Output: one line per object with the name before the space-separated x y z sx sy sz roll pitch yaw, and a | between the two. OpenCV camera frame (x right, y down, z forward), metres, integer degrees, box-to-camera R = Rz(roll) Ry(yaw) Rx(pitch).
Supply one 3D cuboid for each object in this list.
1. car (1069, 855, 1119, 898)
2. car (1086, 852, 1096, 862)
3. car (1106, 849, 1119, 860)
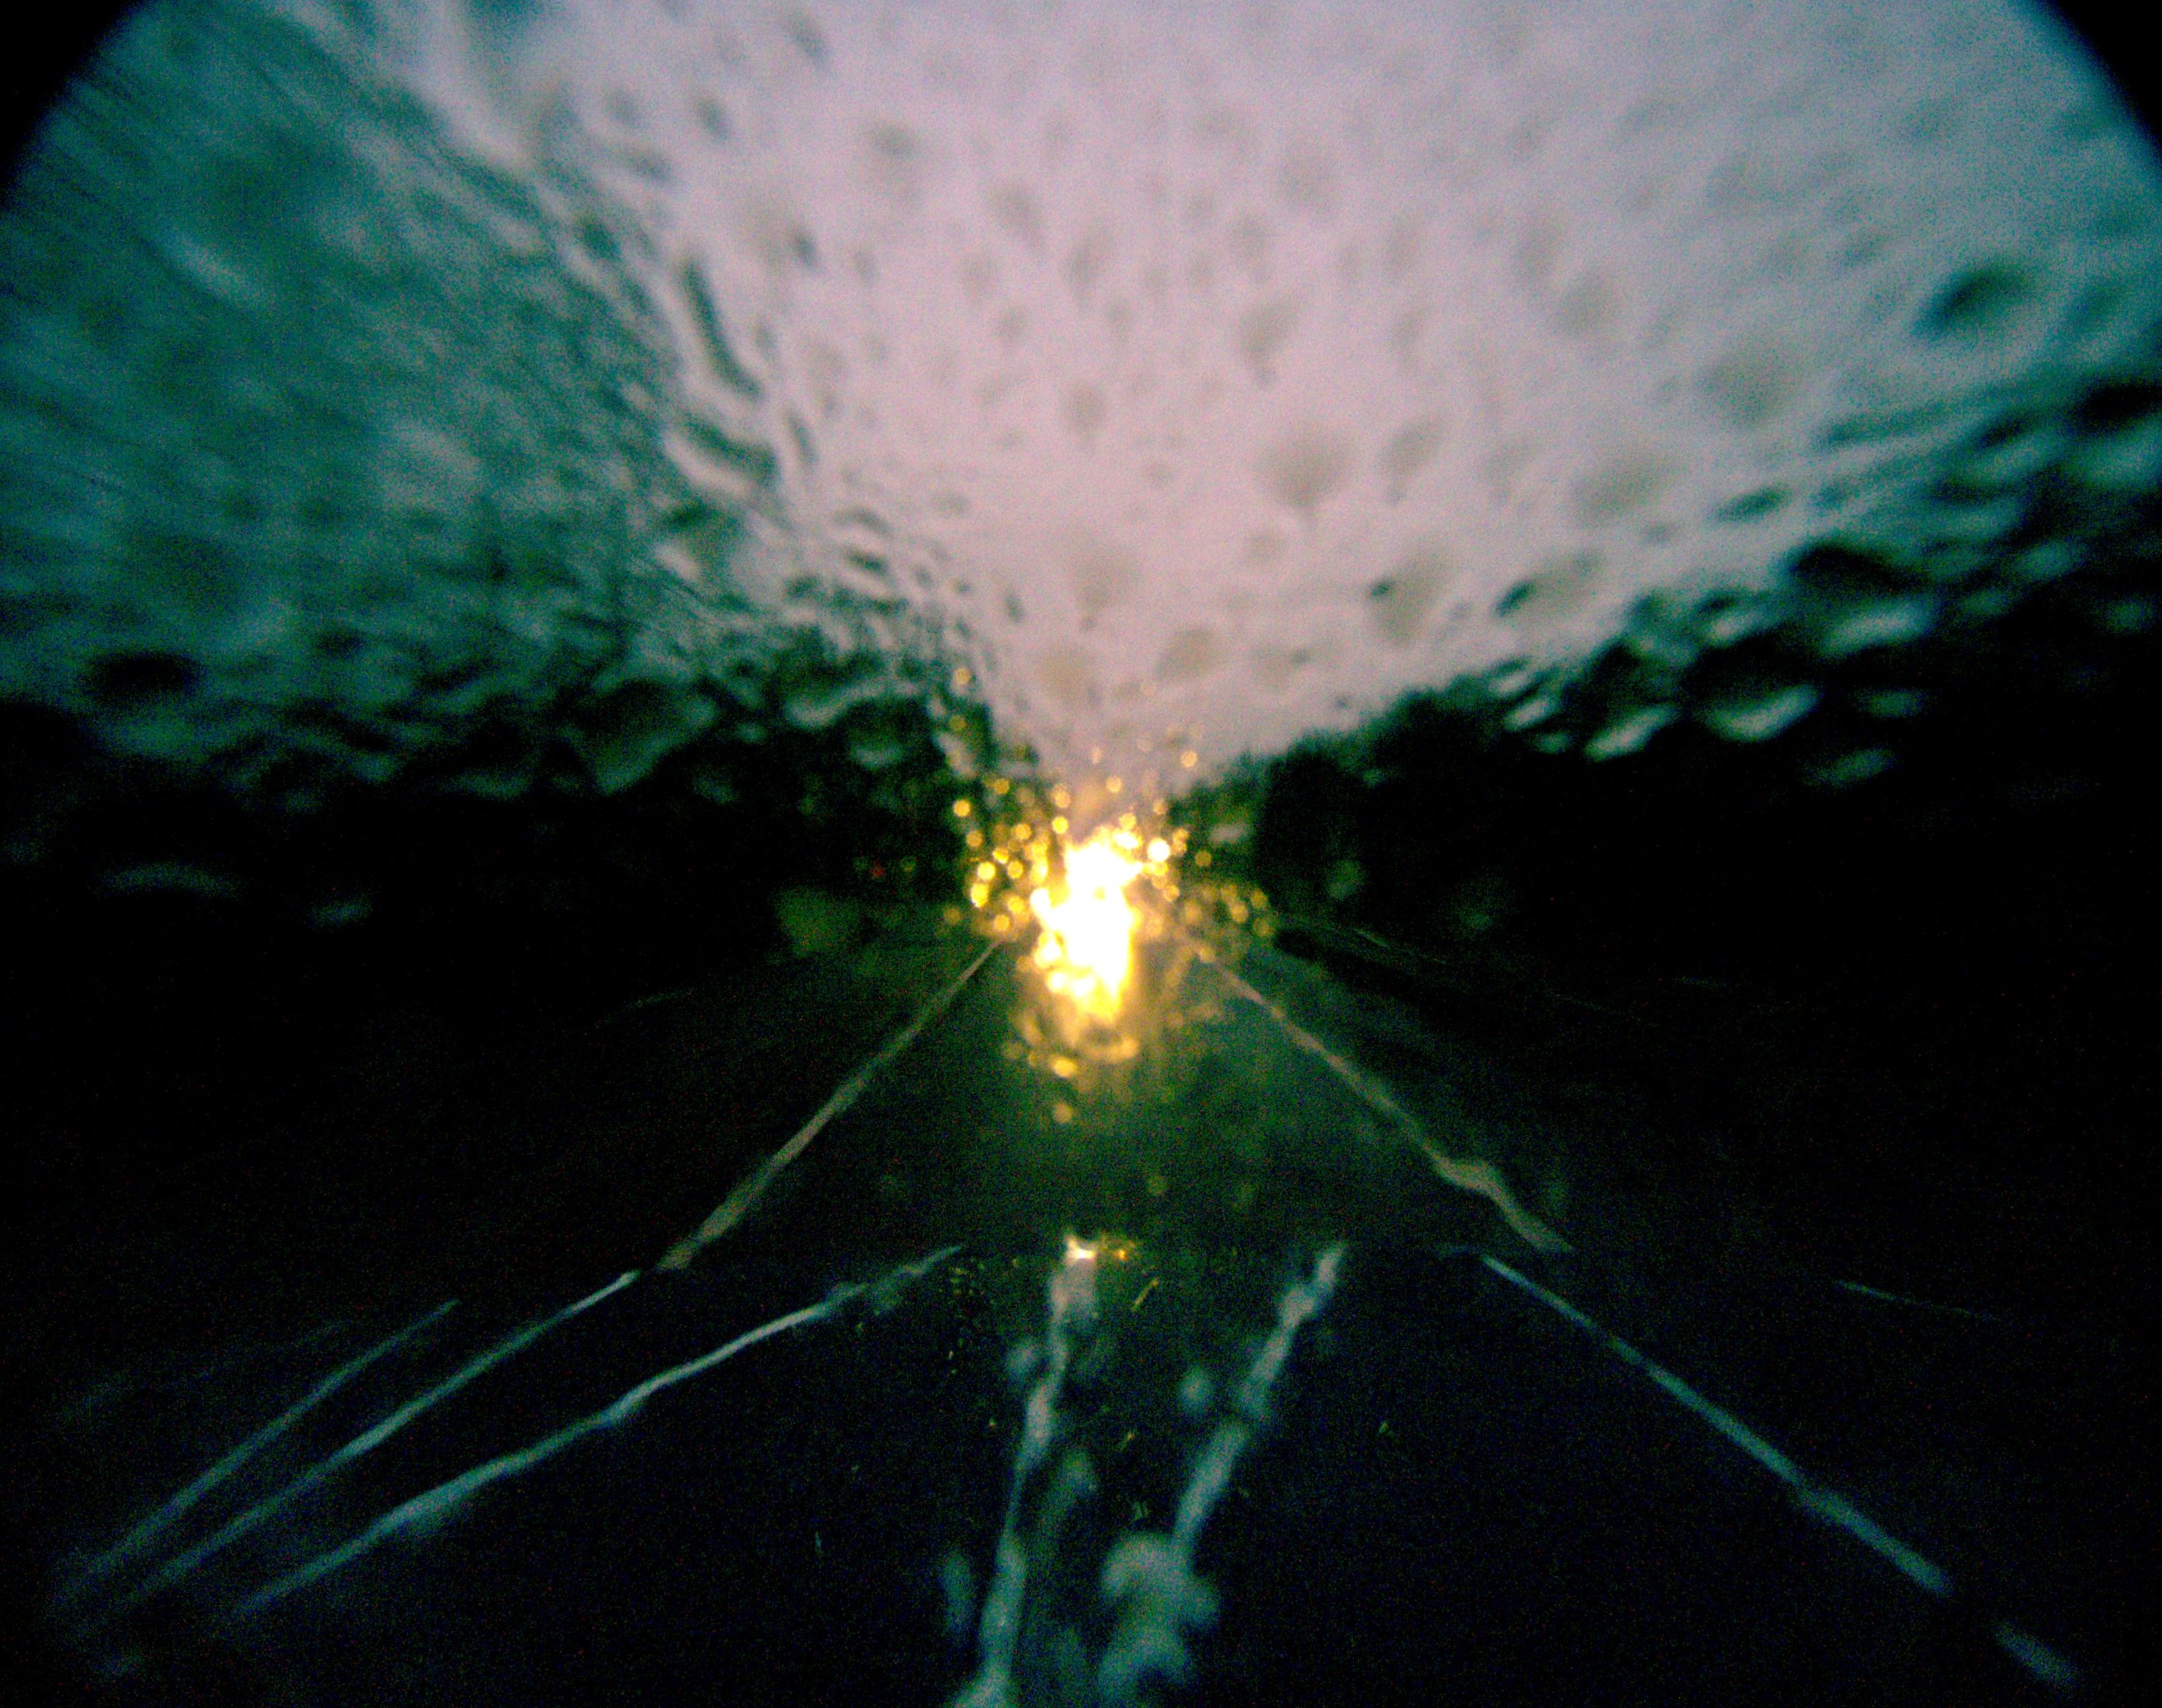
car | 0.551 0.926 33.130 1.998 1.672 4.000 -2 0 0
car | 1.734 0.466 129.730 1.753 1.643 4.000 0 0 1
car | 4.772 0.048 116.358 1.753 1.543 3.993 -1 0 -1
